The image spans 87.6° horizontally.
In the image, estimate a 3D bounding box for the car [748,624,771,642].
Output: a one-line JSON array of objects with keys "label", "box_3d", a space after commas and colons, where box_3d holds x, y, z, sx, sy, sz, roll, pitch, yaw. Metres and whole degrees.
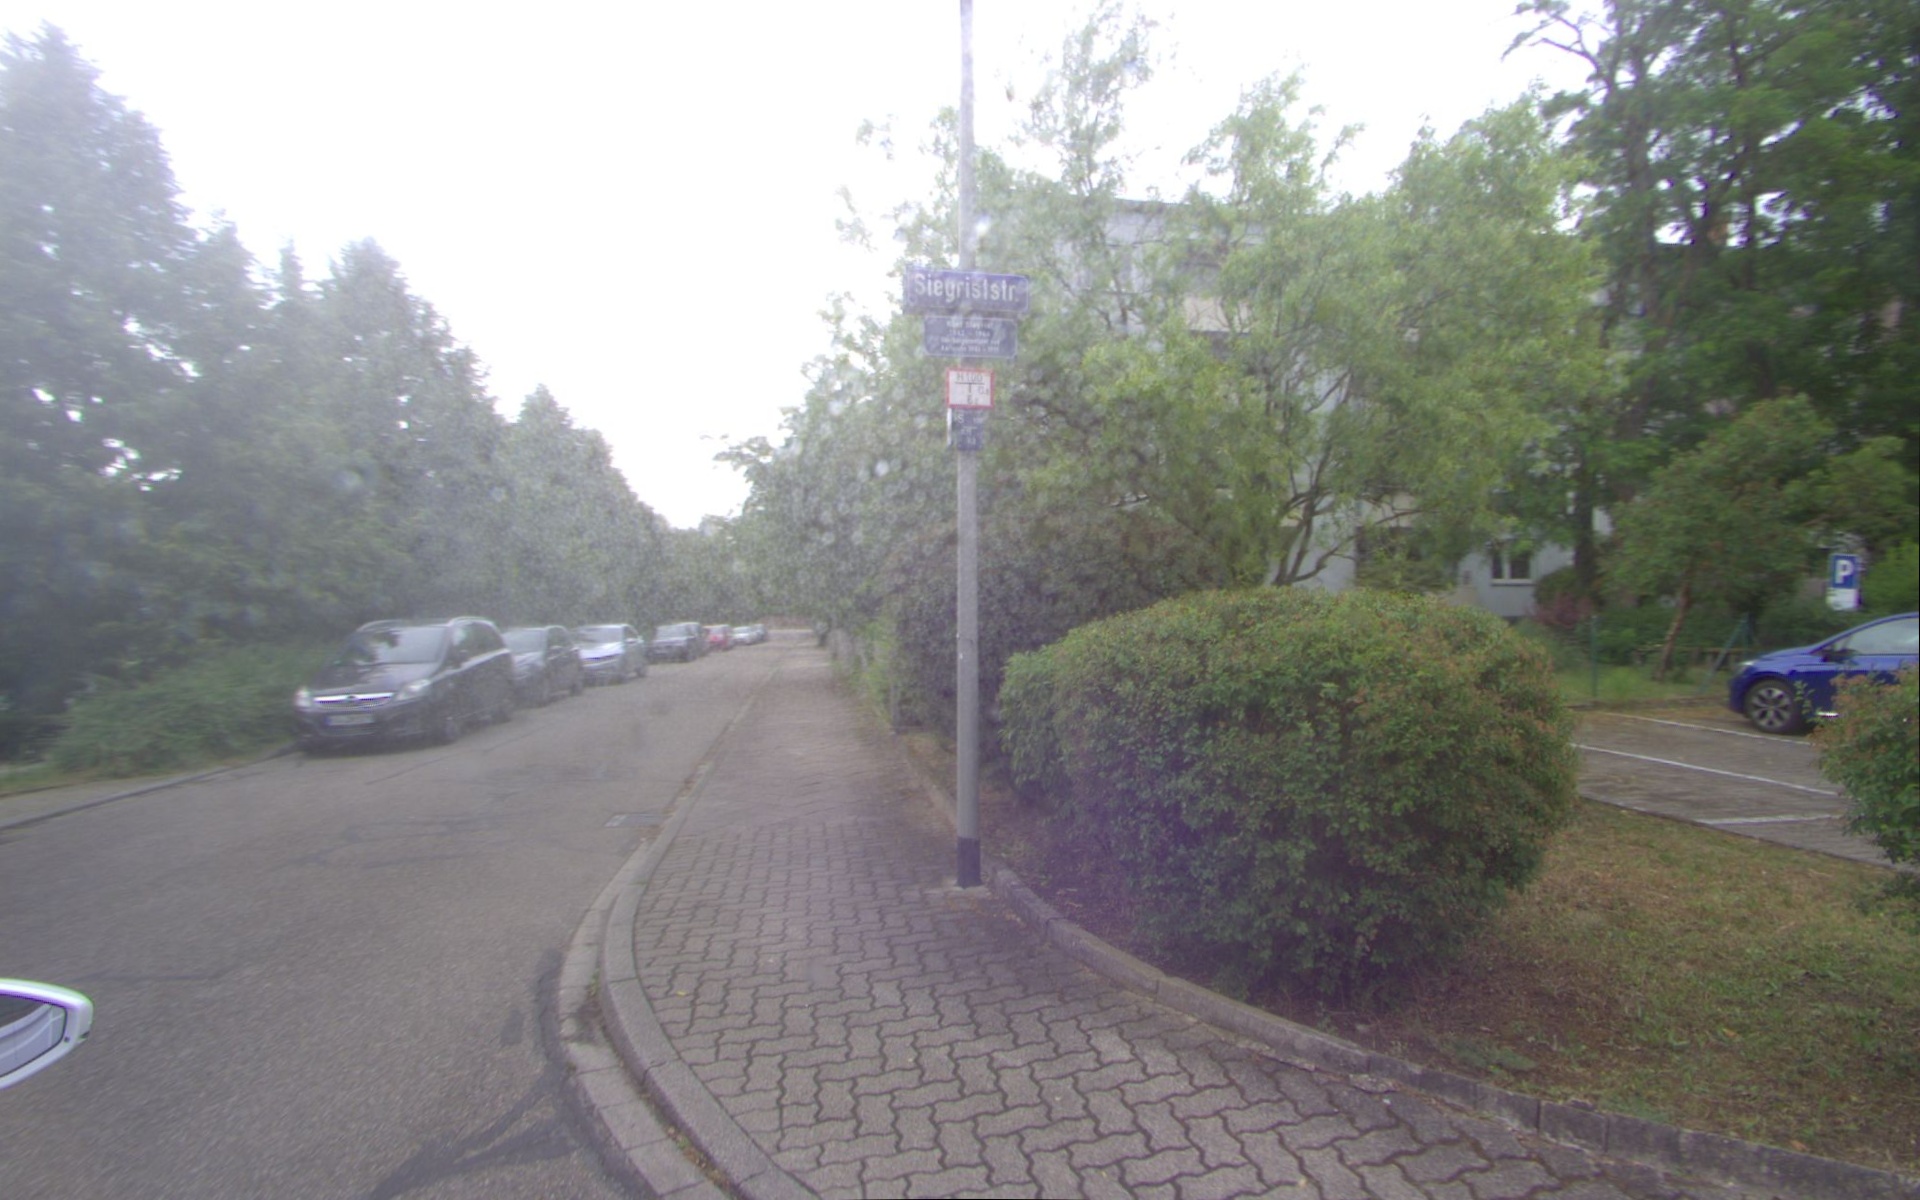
[{"label": "car", "box_3d": [-18.026, 2.944, 89.979, 1.724, 1.539, 3.999, -2, -1, -8]}]

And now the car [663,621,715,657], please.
[{"label": "car", "box_3d": [-12.220, 1.726, 45.319, 1.724, 1.444, 3.999, -2, -1, -8]}]

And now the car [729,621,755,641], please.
[{"label": "car", "box_3d": [-17.181, 2.405, 79.135, 1.724, 1.539, 3.999, 0, -1, -8]}]

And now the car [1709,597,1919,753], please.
[{"label": "car", "box_3d": [10.290, 0.735, 10.227, 1.990, 1.530, 3.907, 0, -1, -12]}]

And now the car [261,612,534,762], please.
[{"label": "car", "box_3d": [-7.393, 1.026, 13.740, 1.730, 1.614, 4.550, -3, 0, -9]}]

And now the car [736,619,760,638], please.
[{"label": "car", "box_3d": [-18.044, 2.399, 85.236, 1.724, 1.539, 3.999, 0, -1, -8]}]

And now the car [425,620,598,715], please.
[{"label": "car", "box_3d": [-8.378, 1.178, 19.126, 1.729, 1.498, 4.304, -3, 0, -7]}]

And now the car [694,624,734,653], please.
[{"label": "car", "box_3d": [-13.912, 2.160, 56.825, 1.724, 1.444, 3.999, -2, -1, -8]}]

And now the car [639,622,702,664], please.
[{"label": "car", "box_3d": [-11.044, 1.611, 38.438, 1.724, 1.444, 3.999, -2, -1, -8]}]

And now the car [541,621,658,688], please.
[{"label": "car", "box_3d": [-8.954, 1.301, 25.265, 1.748, 1.447, 4.477, -3, -1, -7]}]
